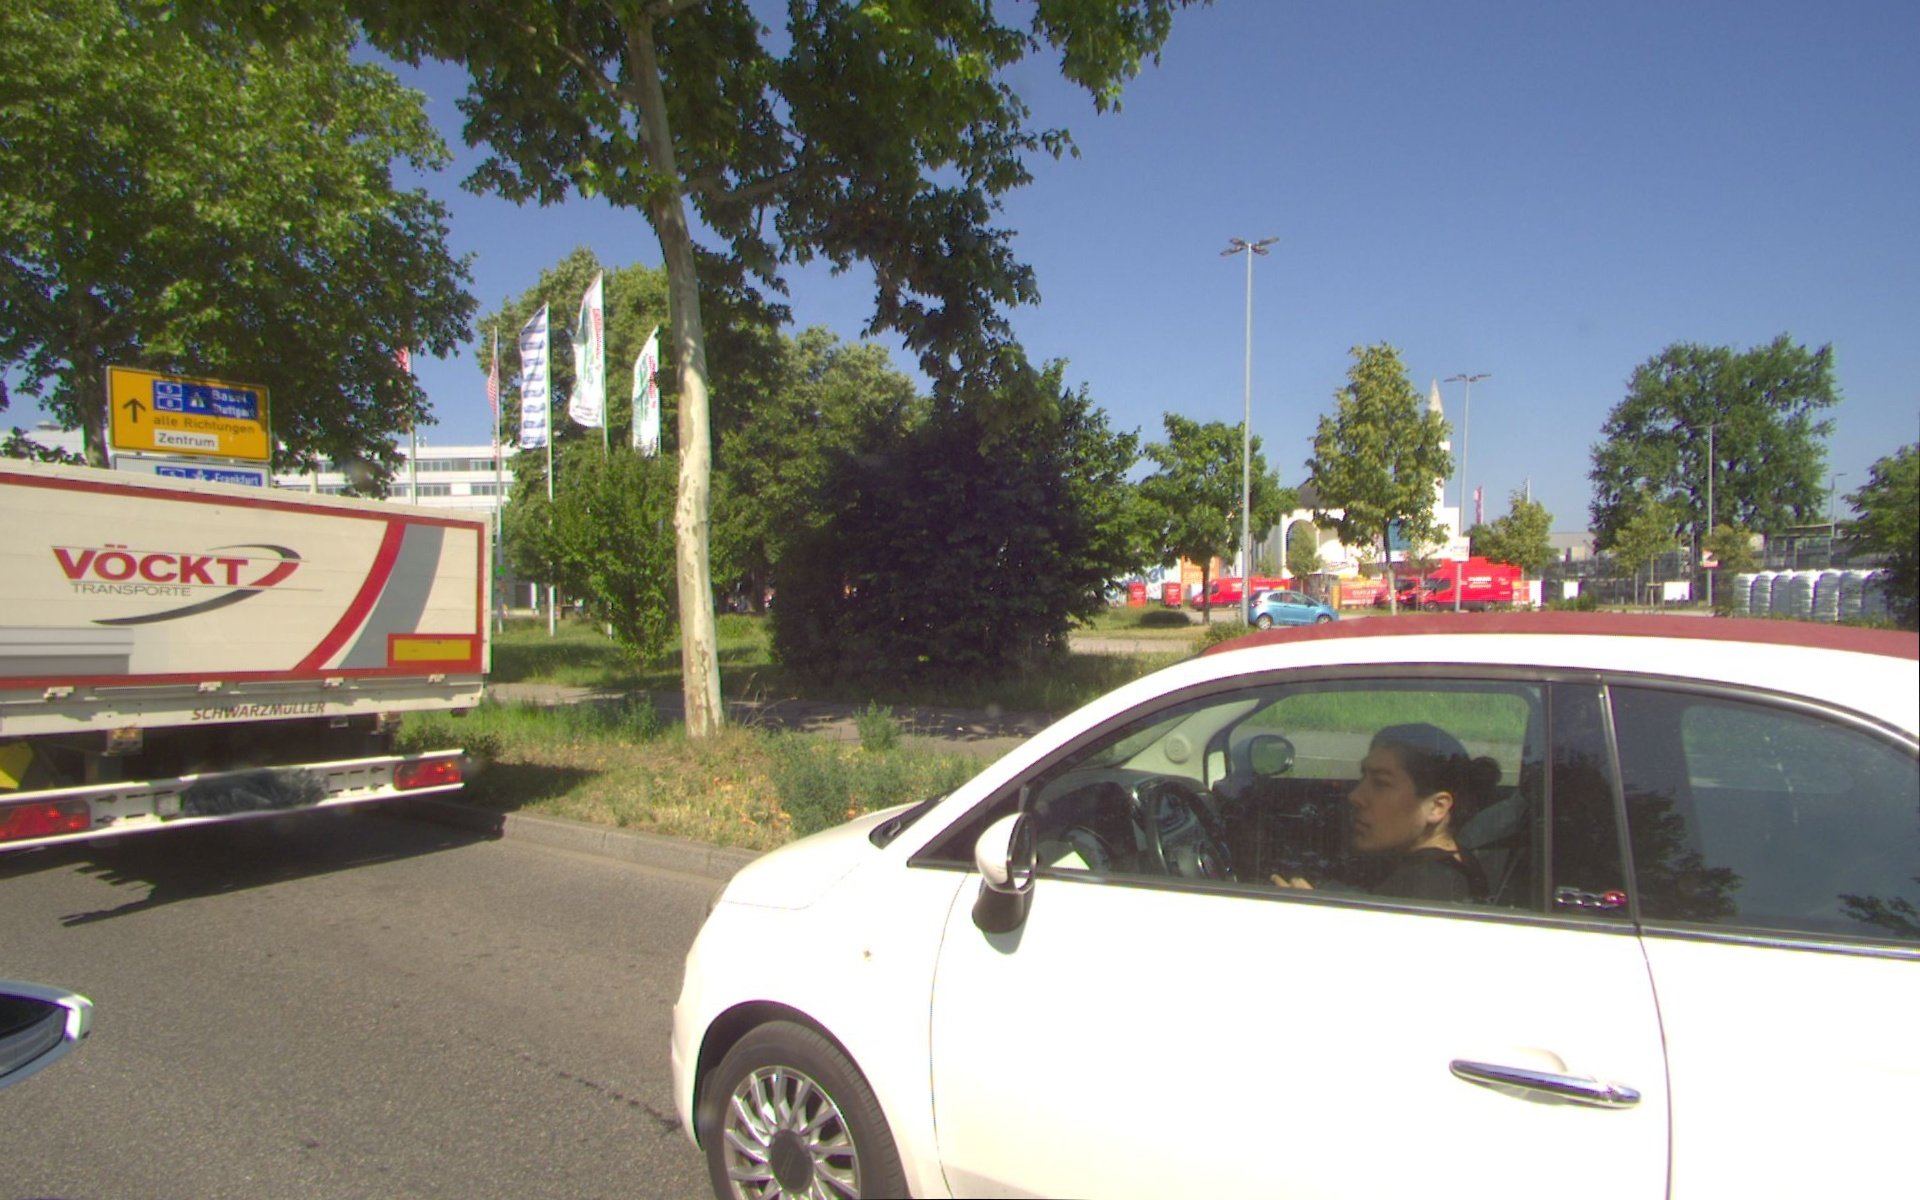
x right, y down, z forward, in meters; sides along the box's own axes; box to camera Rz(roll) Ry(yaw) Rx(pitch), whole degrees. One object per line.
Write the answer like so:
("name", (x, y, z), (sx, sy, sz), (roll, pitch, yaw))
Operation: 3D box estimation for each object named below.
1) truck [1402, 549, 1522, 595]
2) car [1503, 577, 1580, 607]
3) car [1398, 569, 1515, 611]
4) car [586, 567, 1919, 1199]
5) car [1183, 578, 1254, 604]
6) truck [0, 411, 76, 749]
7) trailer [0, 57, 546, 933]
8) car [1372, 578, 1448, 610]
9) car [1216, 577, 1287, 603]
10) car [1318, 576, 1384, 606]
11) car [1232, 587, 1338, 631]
("truck", (37.613, -2.052, 75.148), (8.067, 3.290, 2.000), (0, -1, -2))
("car", (41.148, -0.540, 70.970), (4.304, 2.040, 2.000), (0, -1, -2))
("car", (29.218, -0.549, 59.047), (5.823, 2.371, 2.115), (0, -1, 2))
("car", (0.919, 0.718, 2.294), (3.472, 1.455, 1.657), (-1, -1, 35))
("car", (20.909, -0.738, 81.067), (5.188, 2.040, 2.000), (0, -1, -4))
("truck", (-14.365, -0.168, 12.521), (7.370, 3.806, 3.066), (-1, -1, 32))
("trailer", (-8.557, -0.325, 8.638), (12.070, 3.789, 3.009), (-1, -1, 34))
("car", (28.179, -0.350, 62.805), (3.924, 1.884, 1.999), (-1, -1, 11))
("car", (21.947, -0.749, 75.464), (4.824, 1.906, 1.770), (0, -1, 2))
("car", (28.191, -0.624, 72.283), (3.922, 2.040, 2.000), (0, -1, 2))
("car", (12.165, 0.345, 37.654), (3.387, 1.591, 1.745), (0, -1, -2))
